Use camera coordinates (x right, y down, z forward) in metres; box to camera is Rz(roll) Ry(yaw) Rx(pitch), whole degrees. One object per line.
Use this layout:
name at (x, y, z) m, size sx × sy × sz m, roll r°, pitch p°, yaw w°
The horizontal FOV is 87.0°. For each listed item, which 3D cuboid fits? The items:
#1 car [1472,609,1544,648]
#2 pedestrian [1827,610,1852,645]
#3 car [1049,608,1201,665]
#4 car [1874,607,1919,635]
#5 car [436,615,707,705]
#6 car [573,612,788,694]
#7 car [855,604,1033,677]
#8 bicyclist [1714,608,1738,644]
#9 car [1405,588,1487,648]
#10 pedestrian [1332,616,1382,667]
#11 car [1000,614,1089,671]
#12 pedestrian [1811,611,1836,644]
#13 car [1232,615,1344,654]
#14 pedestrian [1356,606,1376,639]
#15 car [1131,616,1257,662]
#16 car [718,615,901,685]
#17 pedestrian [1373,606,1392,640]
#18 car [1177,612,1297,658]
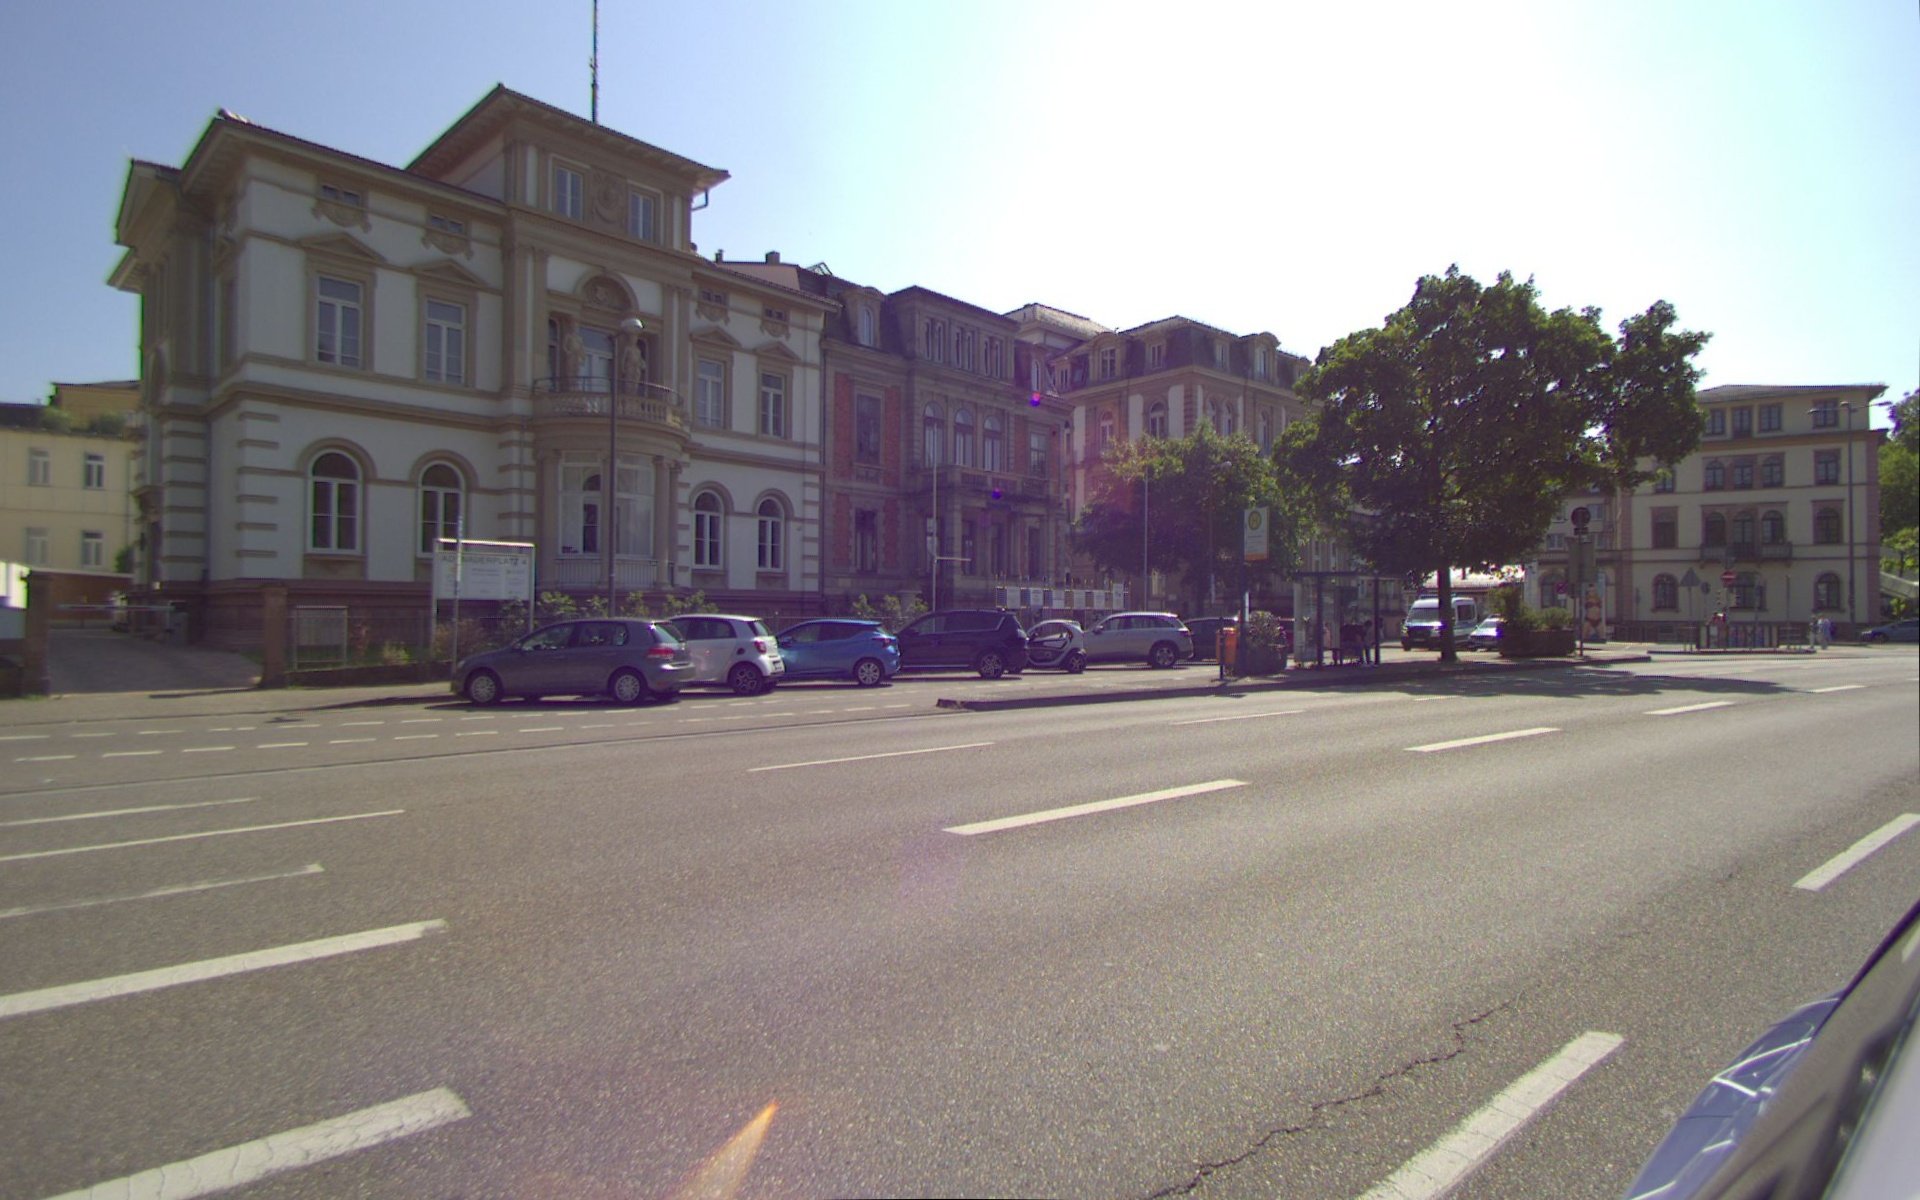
car at (24.684, 1.248, 45.478) m, size 1.815 × 1.647 × 4.806 m, roll -1°, pitch -2°, yaw 41°
pedestrian at (42.433, 1.303, 48.815) m, size 0.814 × 1.681 × 0.753 m, roll 1°, pitch -2°, yaw -38°
car at (4.824, 1.070, 30.076) m, size 4.236 × 1.650 × 1.712 m, roll 0°, pitch -1°, yaw 2°
car at (52.310, 1.150, 54.916) m, size 3.961 × 1.470 × 1.764 m, roll 1°, pitch 0°, yaw 44°
car at (-6.674, 0.999, 17.647) m, size 4.035 × 1.480 × 1.824 m, roll 0°, pitch -1°, yaw 6°
car at (-5.395, 1.005, 19.844) m, size 3.741 × 1.531 × 1.712 m, roll 0°, pitch -1°, yaw 3°
car at (-0.392, 0.968, 24.740) m, size 4.192 × 1.718 × 1.713 m, roll 0°, pitch -1°, yaw -1°
bicyclist at (34.793, 1.172, 45.968) m, size 0.670 × 1.627 × 0.594 m, roll 1°, pitch -1°, yaw -22°
car at (22.704, 0.837, 47.211) m, size 1.992 × 2.637 × 5.235 m, roll -1°, pitch -2°, yaw 43°
pedestrian at (9.807, 1.016, 24.992) m, size 1.013 × 1.213 × 0.783 m, roll -1°, pitch -1°, yaw 32°
car at (2.276, 1.149, 27.592) m, size 2.243 × 1.502 × 1.202 m, roll 0°, pitch -1°, yaw -4°
pedestrian at (42.679, 1.349, 50.005) m, size 0.814 × 1.592 × 0.773 m, roll 1°, pitch -2°, yaw -37°
car at (12.118, 1.266, 37.580) m, size 3.636 × 1.436 × 1.746 m, roll 0°, pitch -1°, yaw 6°
pedestrian at (22.054, 1.227, 54.939) m, size 0.817 × 1.763 × 0.740 m, roll -1°, pitch -2°, yaw 40°
car at (7.503, 1.239, 32.742) m, size 3.754 × 1.435 × 1.603 m, roll 0°, pitch -1°, yaw 6°
car at (-3.199, 1.054, 22.042) m, size 3.738 × 1.461 × 1.713 m, roll 0°, pitch -1°, yaw -1°
pedestrian at (22.656, 1.224, 54.276) m, size 0.699 × 1.774 × 0.710 m, roll -1°, pitch -2°, yaw 42°
car at (9.681, 1.215, 35.667) m, size 3.810 × 1.595 × 1.747 m, roll 0°, pitch -1°, yaw 6°
